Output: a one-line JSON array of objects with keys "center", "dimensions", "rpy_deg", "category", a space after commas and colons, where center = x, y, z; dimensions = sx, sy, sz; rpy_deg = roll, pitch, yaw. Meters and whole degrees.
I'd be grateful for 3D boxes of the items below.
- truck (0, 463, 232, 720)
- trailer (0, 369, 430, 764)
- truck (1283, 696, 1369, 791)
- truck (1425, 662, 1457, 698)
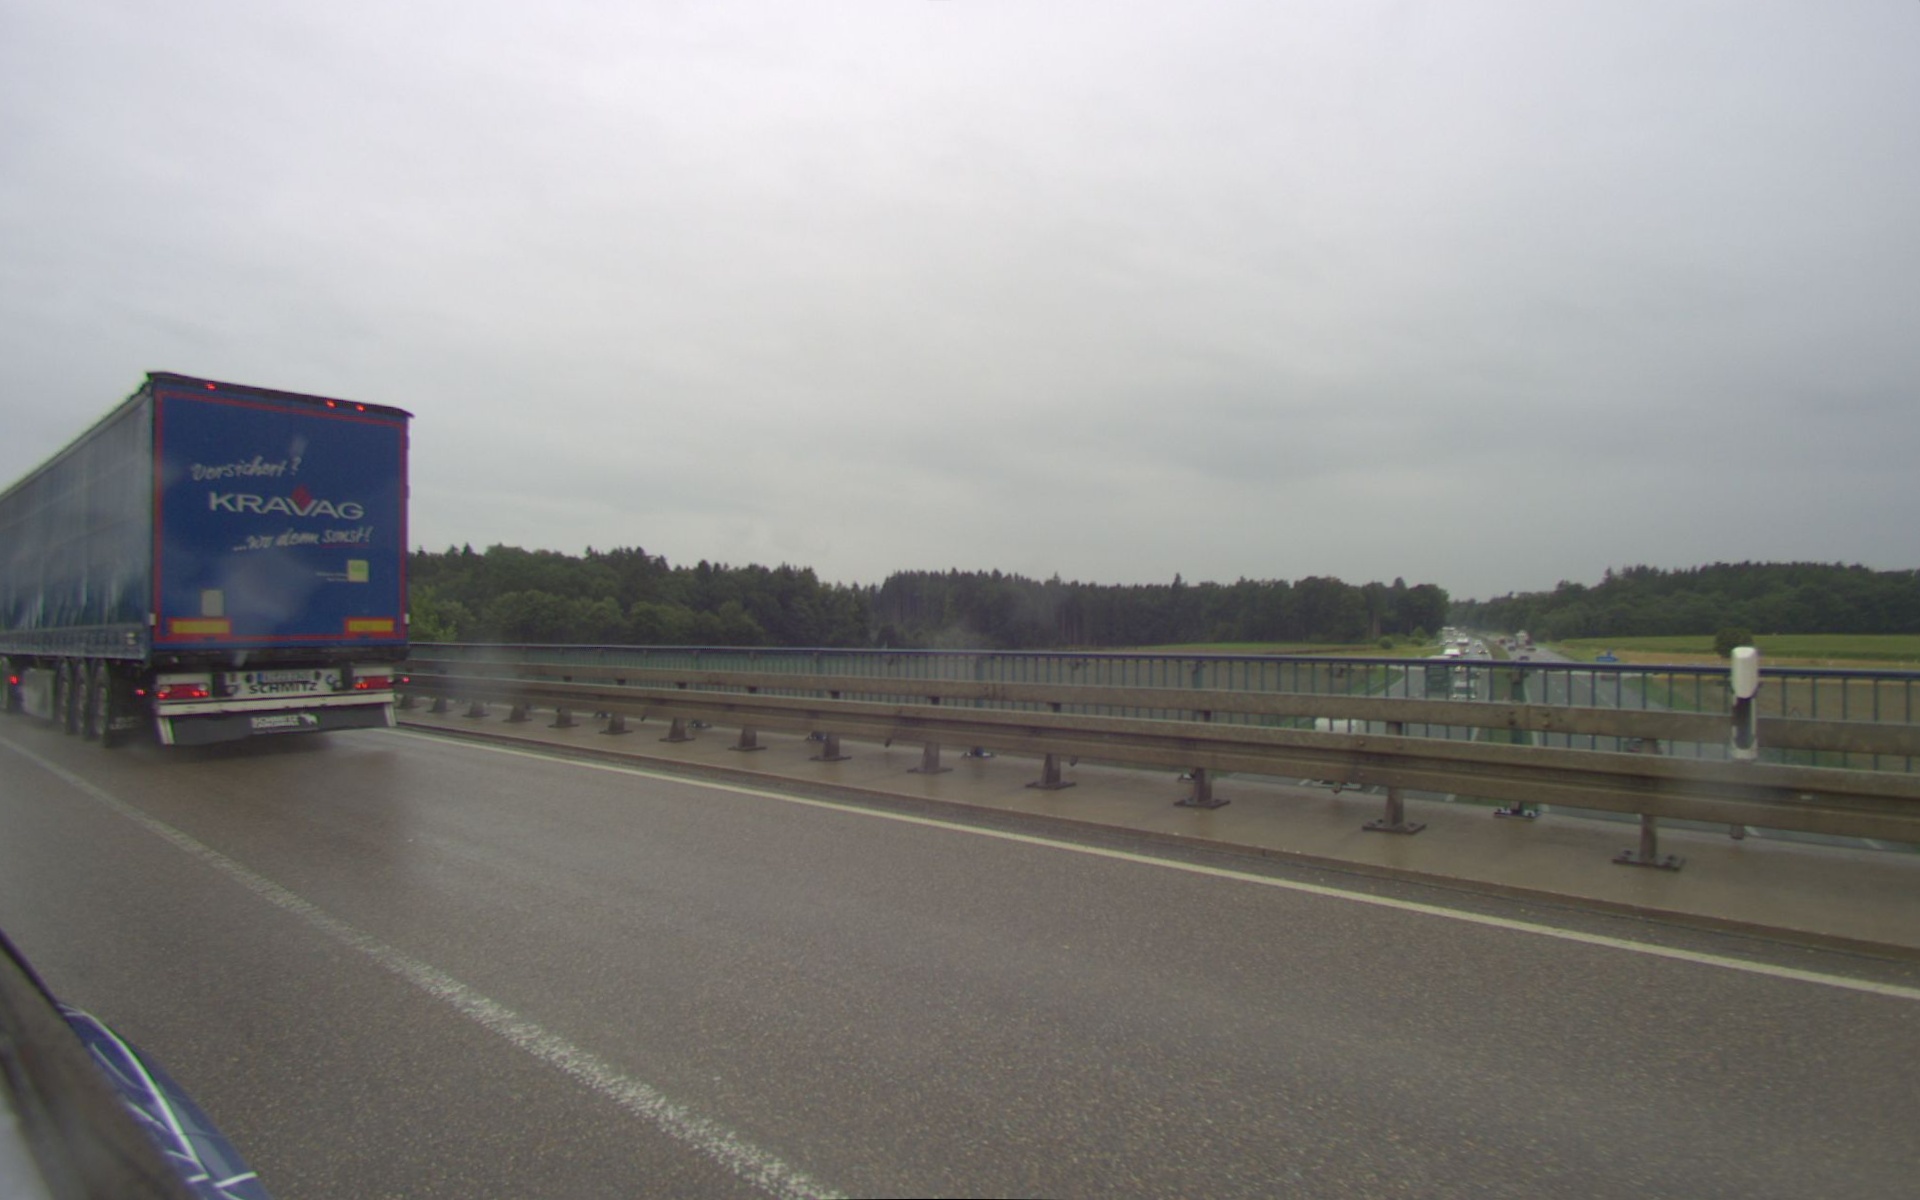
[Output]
[{"center": [-17.064, -0.027, 19.660], "dimensions": [8.758, 4.000, 2.789], "rpy_deg": [-2, -2, 41], "category": "truck"}, {"center": [-12.570, -0.169, 15.781], "dimensions": [13.727, 4.000, 2.789], "rpy_deg": [-2, -2, 41], "category": "trailer"}, {"center": [20.398, 7.681, 55.972], "dimensions": [2.774, 3.899, 10.536], "rpy_deg": [0, -1, 29], "category": "truck"}, {"center": [62.055, 10.273, 130.441], "dimensions": [2.234, 3.727, 9.740], "rpy_deg": [-3, 0, 34], "category": "truck"}]
